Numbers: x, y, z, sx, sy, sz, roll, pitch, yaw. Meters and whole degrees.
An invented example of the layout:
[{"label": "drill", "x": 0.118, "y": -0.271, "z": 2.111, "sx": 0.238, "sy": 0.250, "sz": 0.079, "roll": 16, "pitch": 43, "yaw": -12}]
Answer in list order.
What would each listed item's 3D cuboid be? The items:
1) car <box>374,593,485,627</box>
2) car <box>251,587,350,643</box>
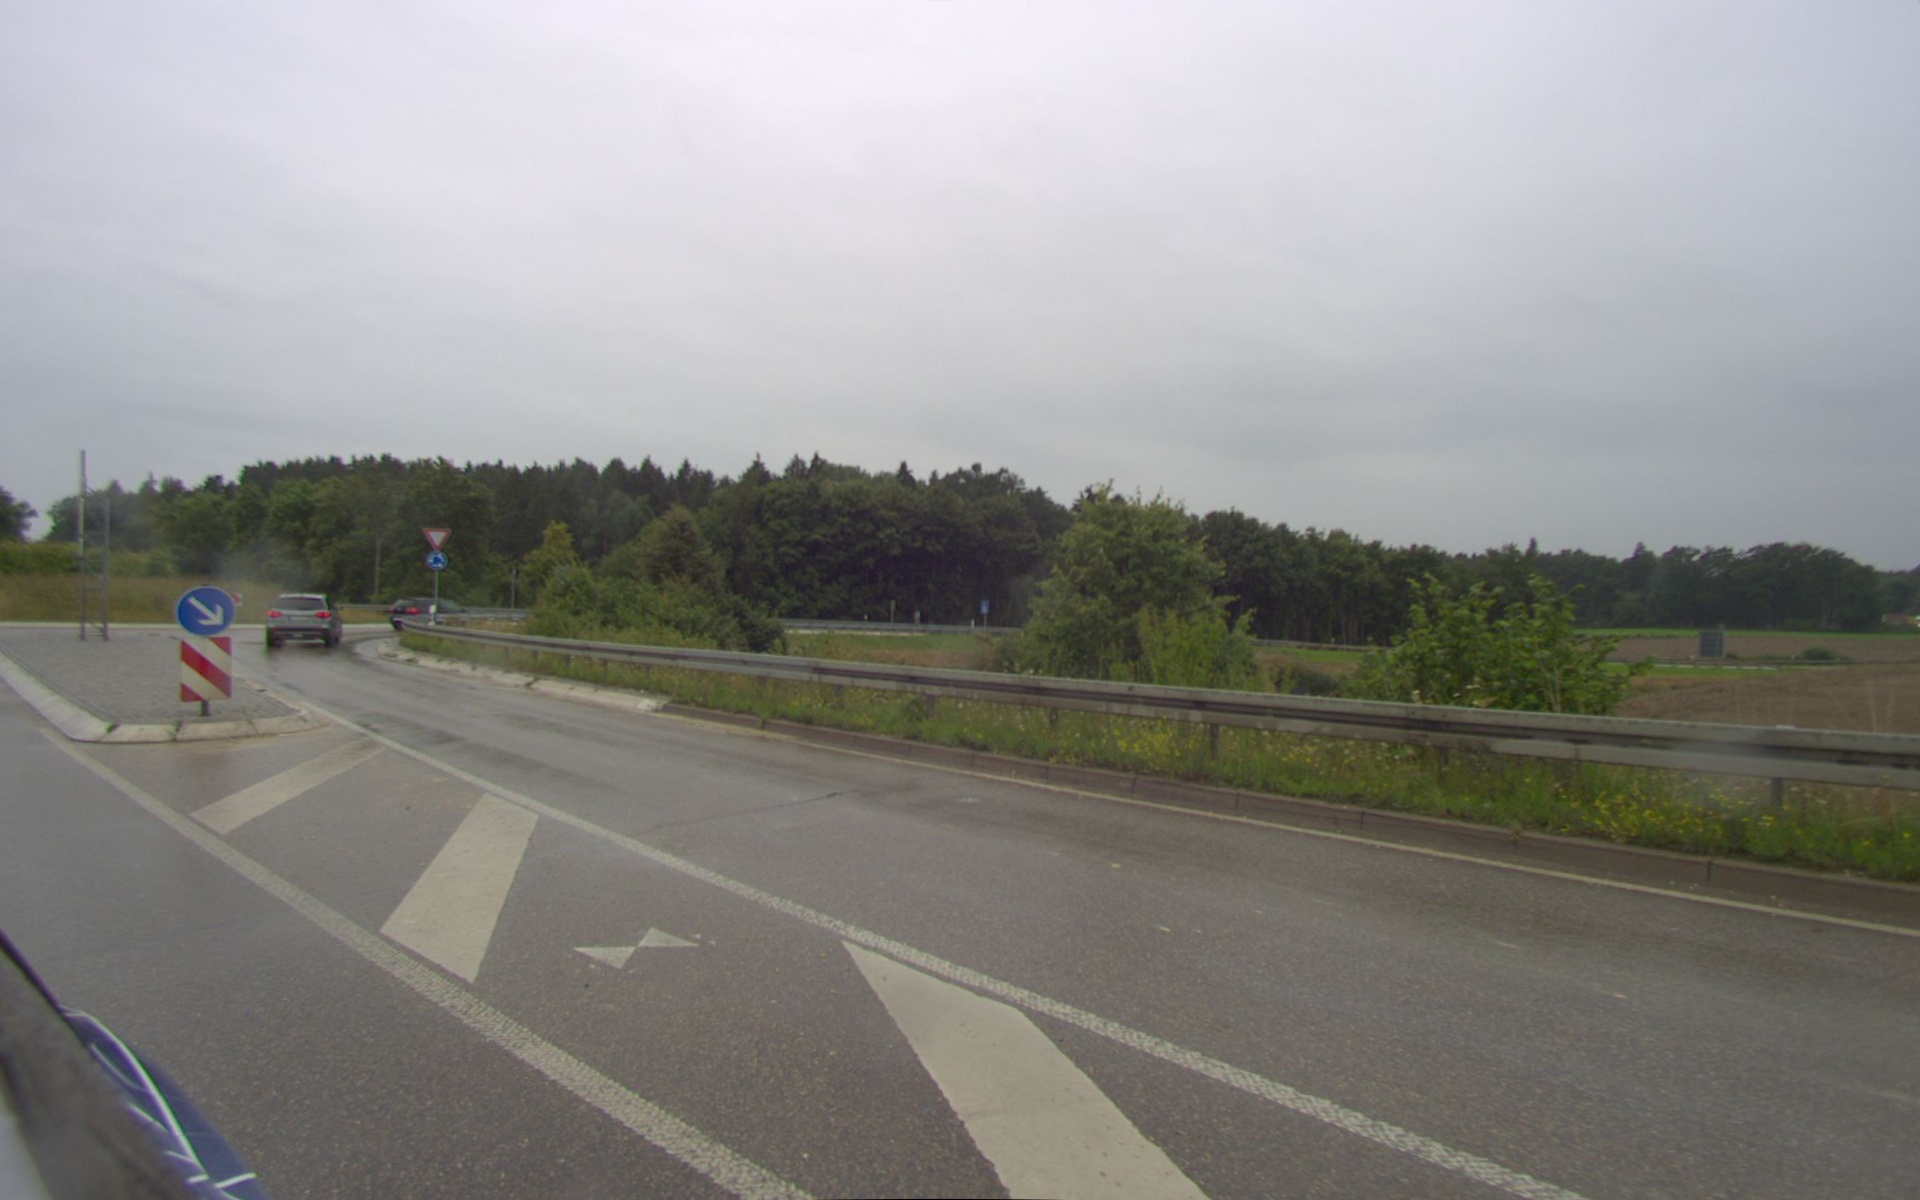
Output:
[{"label": "car", "x": -23.632, "y": 0.443, "z": 45.301, "sx": 1.857, "sy": 1.432, "sz": 4.480, "roll": 0, "pitch": -1, "yaw": 15}, {"label": "car", "x": -20.612, "y": 0.421, "z": 31.801, "sx": 1.775, "sy": 1.586, "sz": 4.013, "roll": 0, "pitch": 1, "yaw": -21}]
